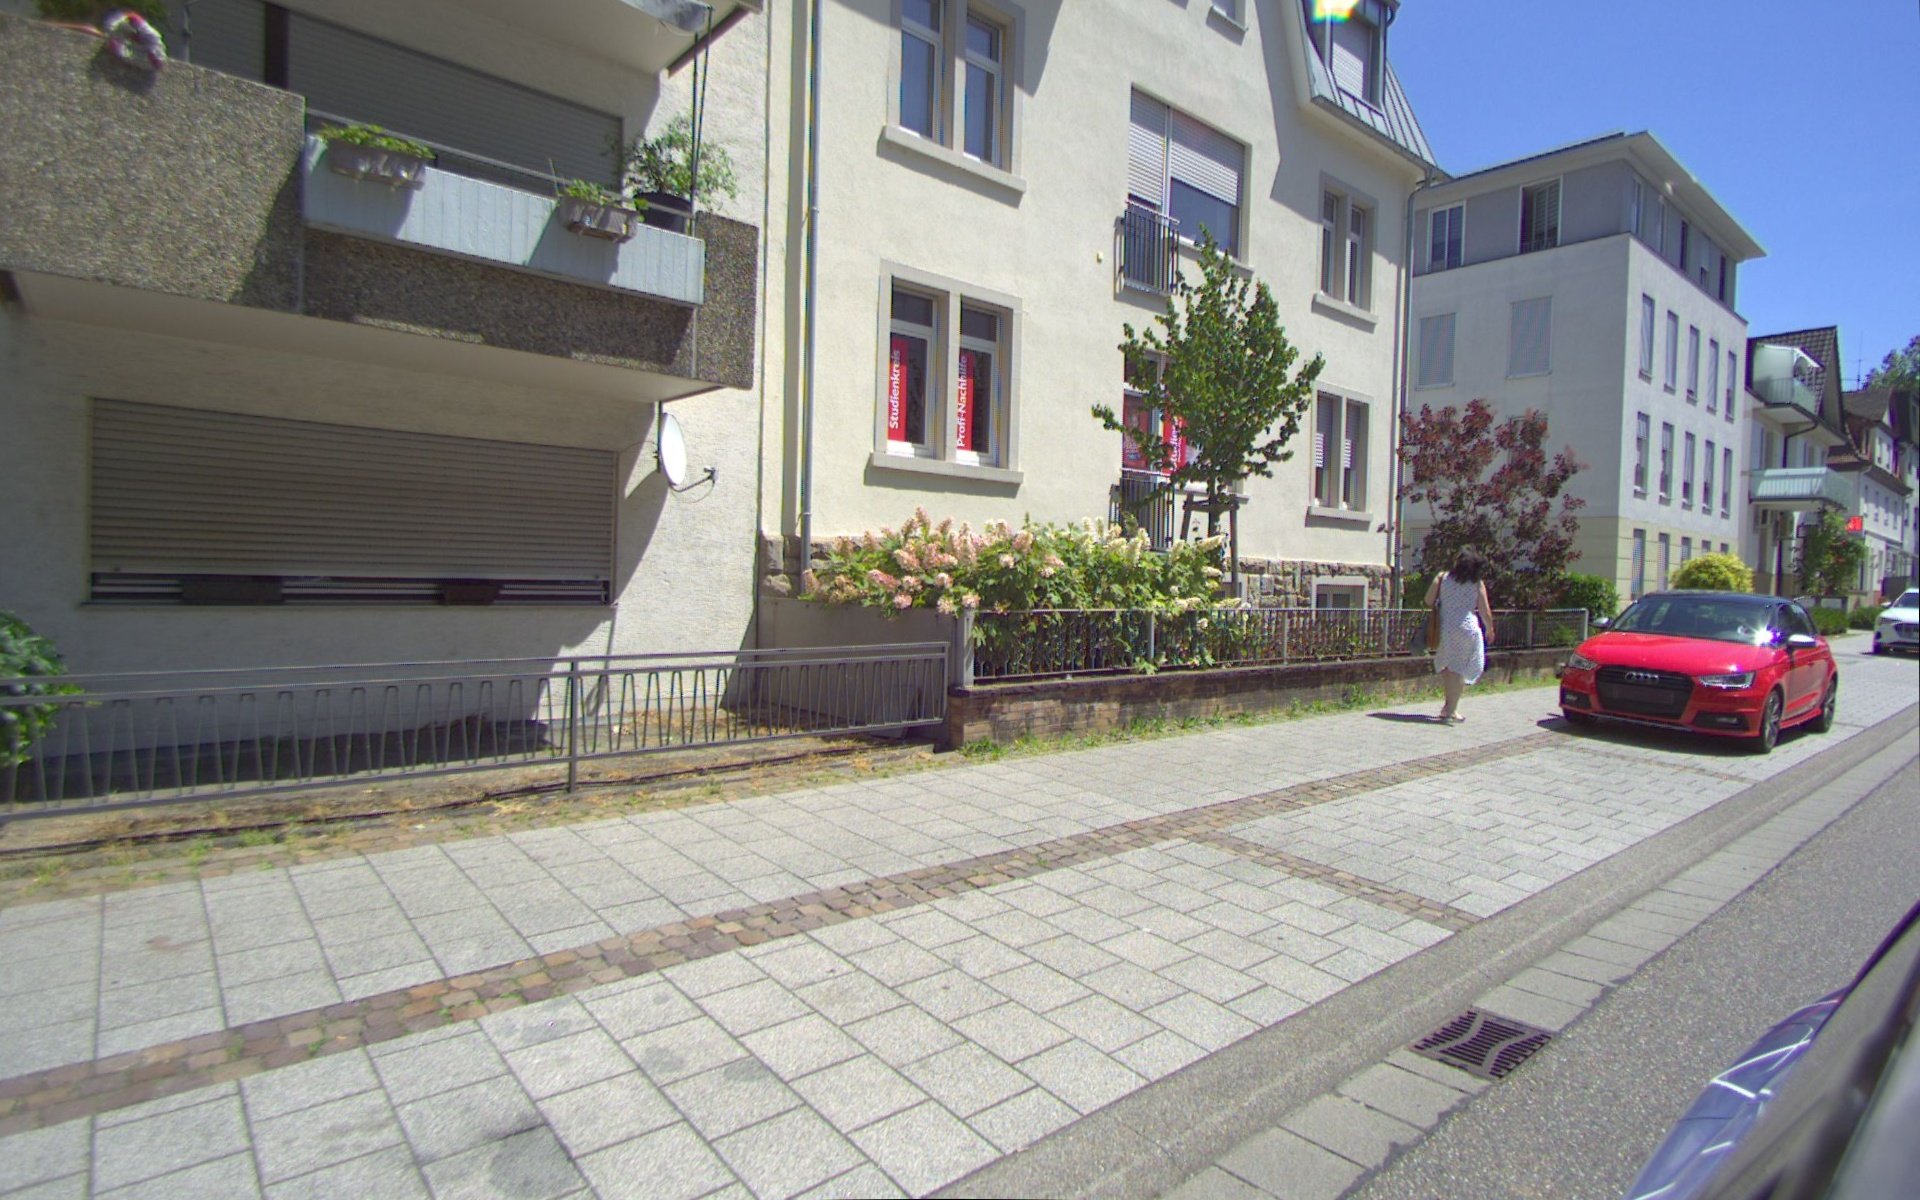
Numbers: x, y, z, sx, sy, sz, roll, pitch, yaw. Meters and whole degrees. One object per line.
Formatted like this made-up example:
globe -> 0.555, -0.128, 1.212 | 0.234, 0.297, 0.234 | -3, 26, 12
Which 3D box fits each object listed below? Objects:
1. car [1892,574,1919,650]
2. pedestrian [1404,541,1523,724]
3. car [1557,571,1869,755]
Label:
car -> 23.784, 0.303, 24.082 | 4.499, 1.686, 1.710 | 0, 5, -40
pedestrian -> 4.984, 0.293, 10.025 | 0.693, 1.689, 0.742 | 0, 4, -41
car -> 7.811, 0.519, 10.384 | 3.783, 1.458, 1.608 | 0, 5, -39
